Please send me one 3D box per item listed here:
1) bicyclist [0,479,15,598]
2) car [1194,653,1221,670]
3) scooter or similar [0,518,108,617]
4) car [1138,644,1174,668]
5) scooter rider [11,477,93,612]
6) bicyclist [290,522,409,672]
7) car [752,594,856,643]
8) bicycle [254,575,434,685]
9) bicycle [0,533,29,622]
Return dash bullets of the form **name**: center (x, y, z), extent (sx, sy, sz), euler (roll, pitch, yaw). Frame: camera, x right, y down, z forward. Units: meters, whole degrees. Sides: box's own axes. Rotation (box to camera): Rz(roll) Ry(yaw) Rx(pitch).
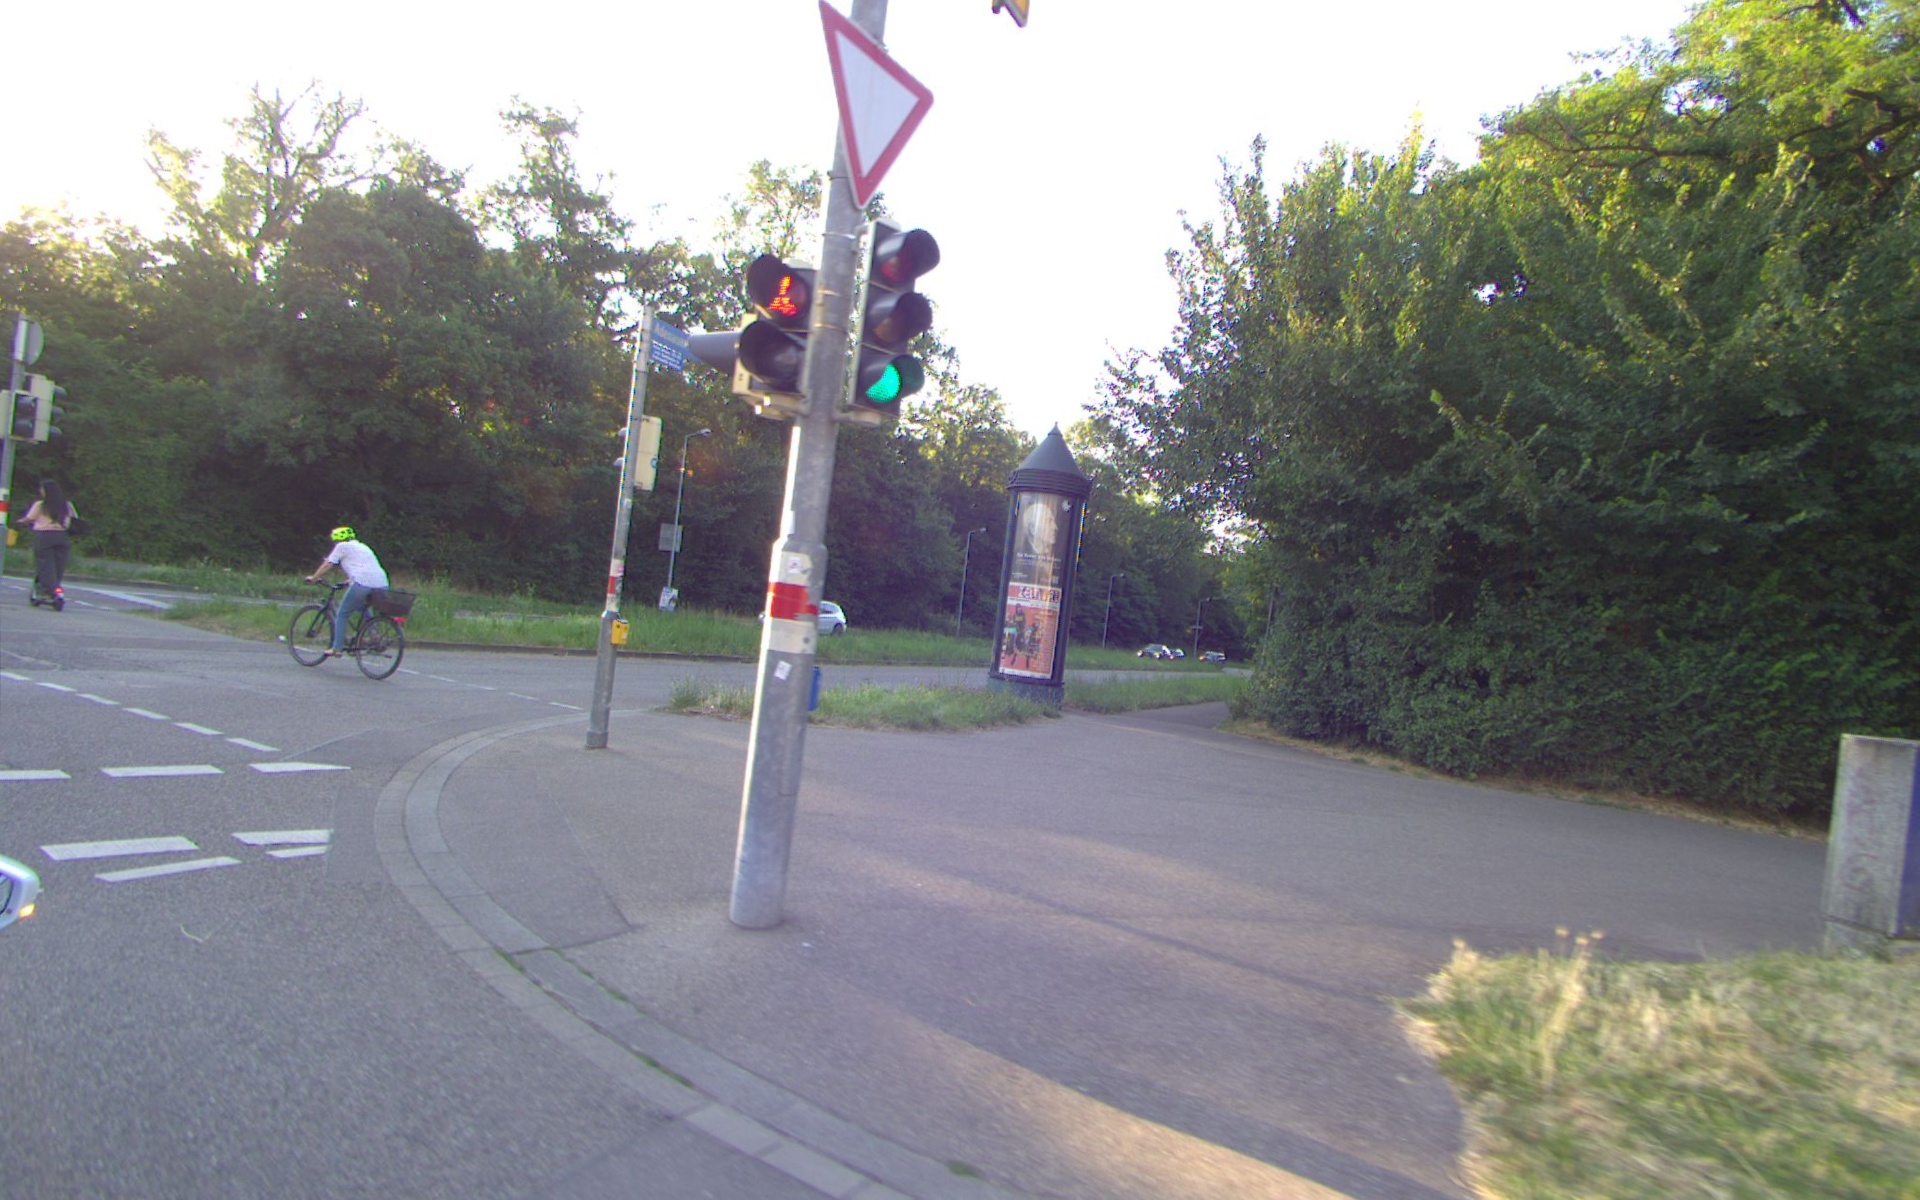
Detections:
- **bicyclist**: center (-12.083, -0.754, 12.022), extent (0.841, 1.536, 0.762), euler (7, -1, 25)
- **car**: center (26.926, 6.700, 109.341), extent (1.964, 1.646, 4.650), euler (5, -2, 24)
- **scooter or similar**: center (-12.616, -0.451, 13.983), extent (1.397, 1.203, 0.563), euler (6, -1, 26)
- **car**: center (15.805, 4.553, 81.074), extent (1.787, 1.646, 4.450), euler (5, -2, 24)
- **scooter rider**: center (-12.648, -0.762, 14.020), extent (0.496, 1.788, 0.567), euler (6, 0, 26)
- **bicyclist**: center (-7.011, -0.027, 11.573), extent (0.881, 1.589, 0.556), euler (7, 0, 11)
- **car**: center (-6.406, 0.819, 41.924), extent (1.796, 1.632, 4.637), euler (4, -2, 27)
- **bicycle**: center (-7.081, 0.340, 11.580), extent (1.767, 1.027, 0.566), euler (7, 0, 12)
- **bicycle**: center (-12.217, -0.382, 12.063), extent (1.980, 1.019, 0.773), euler (7, -1, 25)
